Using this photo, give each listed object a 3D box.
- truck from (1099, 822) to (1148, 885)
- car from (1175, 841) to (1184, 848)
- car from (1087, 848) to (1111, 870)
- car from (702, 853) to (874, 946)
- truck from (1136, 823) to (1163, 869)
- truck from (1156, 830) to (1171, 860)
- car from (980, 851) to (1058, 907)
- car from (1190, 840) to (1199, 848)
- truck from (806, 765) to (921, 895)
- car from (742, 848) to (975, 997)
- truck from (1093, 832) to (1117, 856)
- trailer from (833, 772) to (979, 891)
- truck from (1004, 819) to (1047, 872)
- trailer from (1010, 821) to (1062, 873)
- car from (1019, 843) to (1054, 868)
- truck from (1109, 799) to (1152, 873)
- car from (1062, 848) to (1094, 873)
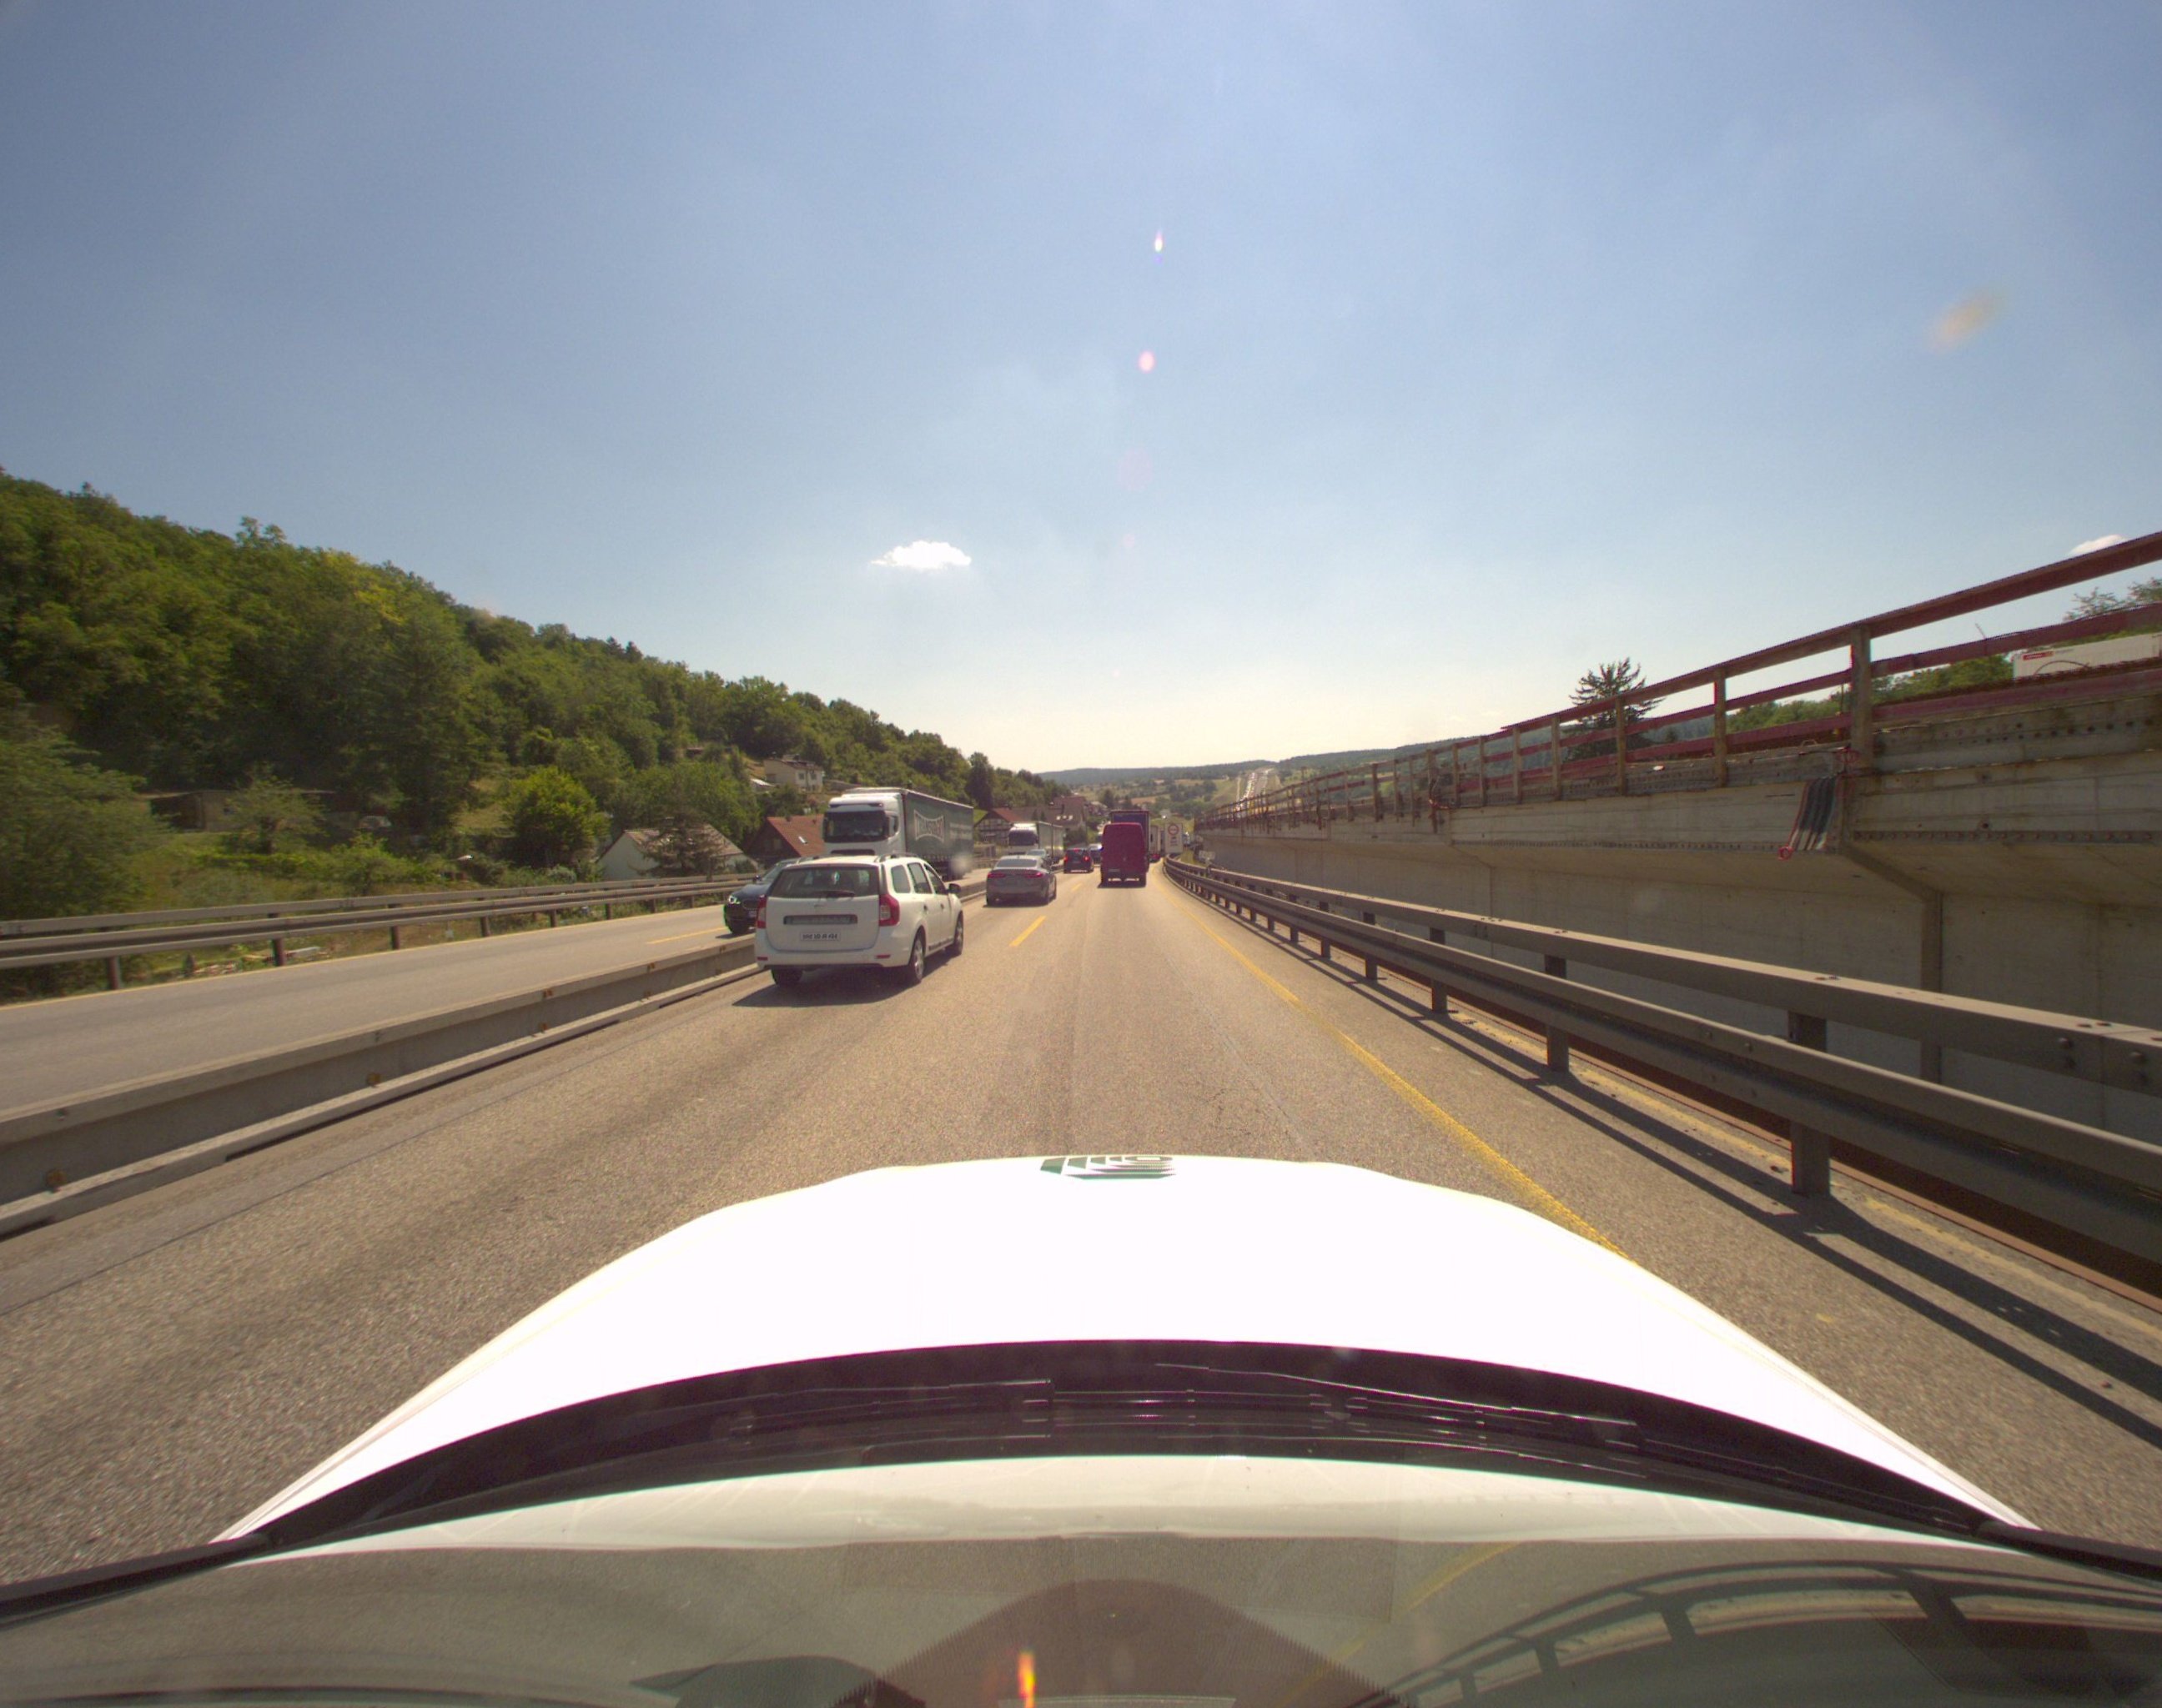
[{"bbox_3d":[1.856,-0.002,35.581,1.985,2.578,4.003,-1,-1,3],"label":"truck"},{"bbox_3d":[26.022,-2.467,215.116,1.791,2.013,4.014,0,0,12],"label":"car"},{"bbox_3d":[1.584,0.432,70.120,1.721,1.838,4.005,-1,-1,5],"label":"car"},{"bbox_3d":[-5.857,0.836,17.008,1.988,1.640,4.849,-1,-1,-2],"label":"car"},{"bbox_3d":[7.590,-0.791,90.397,2.773,4.816,9.696,-1,-1,4],"label":"truck"},{"bbox_3d":[12.381,-1.344,121.991,1.982,4.381,4.009,-1,-1,9],"label":"truck"},{"bbox_3d":[-1.772,0.689,24.429,1.787,1.485,4.052,-1,0,3],"label":"car"},{"bbox_3d":[31.054,-2.657,223.001,2.117,2.014,4.013,-1,-2,12],"label":"car"},{"bbox_3d":[-8.651,-0.915,32.959,3.047,4.821,4.651,-1,0,4],"label":"truck"},{"bbox_3d":[-2.618,0.740,10.683,1.645,1.483,4.269,-3,-1,2],"label":"car"},{"bbox_3d":[4.376,-1.740,144.347,2.961,4.162,10.570,-1,1,8],"label":"truck"},{"bbox_3d":[-8.053,-0.947,40.402,3.050,4.815,14.020,-1,0,5],"label":"trailer"},{"bbox_3d":[-4.929,-0.695,73.610,2.832,4.580,5.797,-1,-1,6],"label":"truck"},{"bbox_3d":[-4.234,-0.578,80.815,2.819,4.641,14.603,-1,-1,6],"label":"trailer"},{"bbox_3d":[-3.120,0.084,57.556,1.948,1.681,4.118,-1,0,4],"label":"car"},{"bbox_3d":[3.645,-1.139,58.675,2.773,4.816,9.696,-1,-1,4],"label":"truck"},{"bbox_3d":[-0.137,0.458,54.262,1.802,1.608,3.723,-1,-1,4],"label":"car"}]
